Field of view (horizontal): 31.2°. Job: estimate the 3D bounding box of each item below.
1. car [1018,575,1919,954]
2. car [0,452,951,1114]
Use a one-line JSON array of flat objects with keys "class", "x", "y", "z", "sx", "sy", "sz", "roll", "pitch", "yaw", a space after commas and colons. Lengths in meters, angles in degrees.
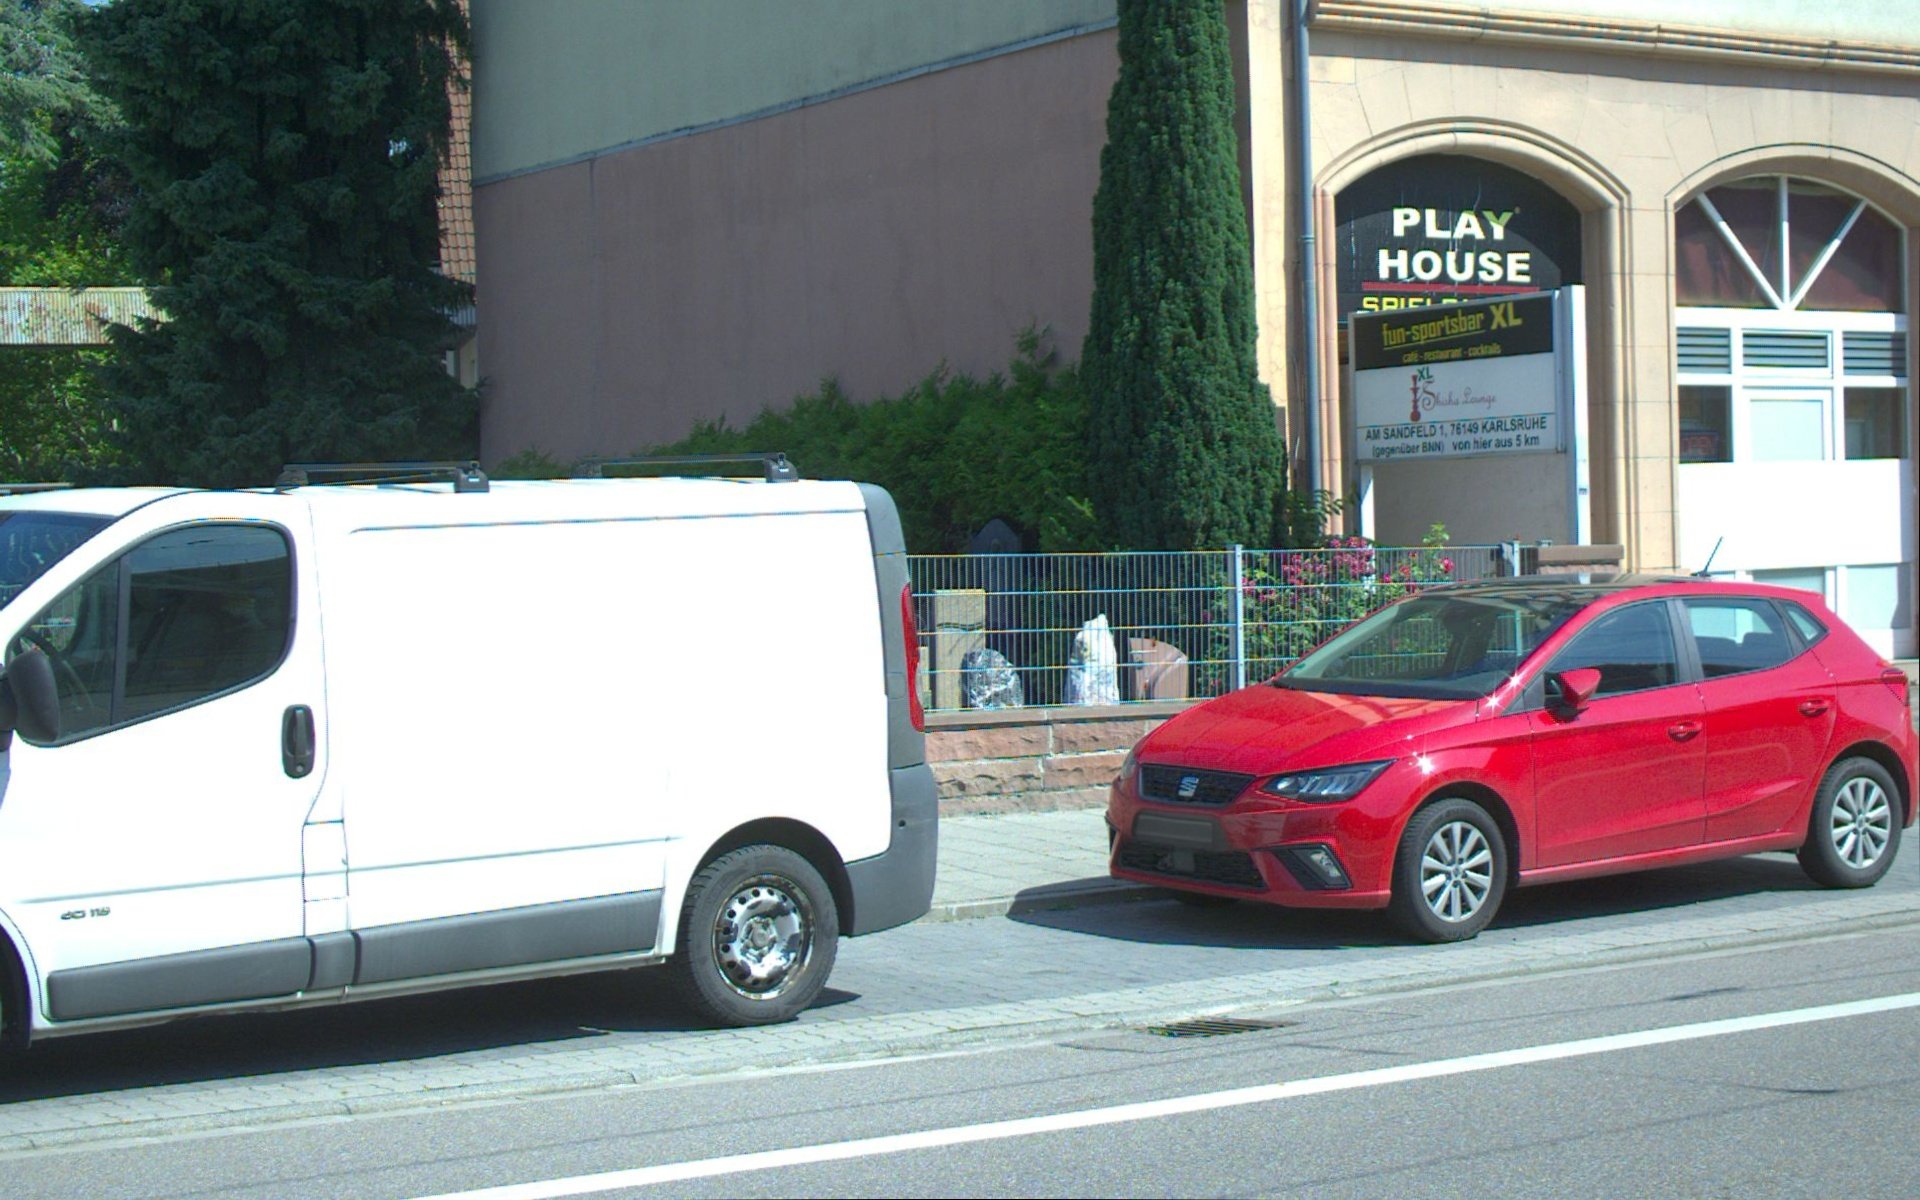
[{"class": "car", "x": 2.386, "y": 0.649, "z": 15.430, "sx": 3.989, "sy": 1.401, "sz": 1.725, "roll": -2, "pitch": 1, "yaw": -36}, {"class": "car", "x": -2.648, "y": 0.528, "z": 11.949, "sx": 4.893, "sy": 2.007, "sz": 2.090, "roll": -2, "pitch": 1, "yaw": -36}]
